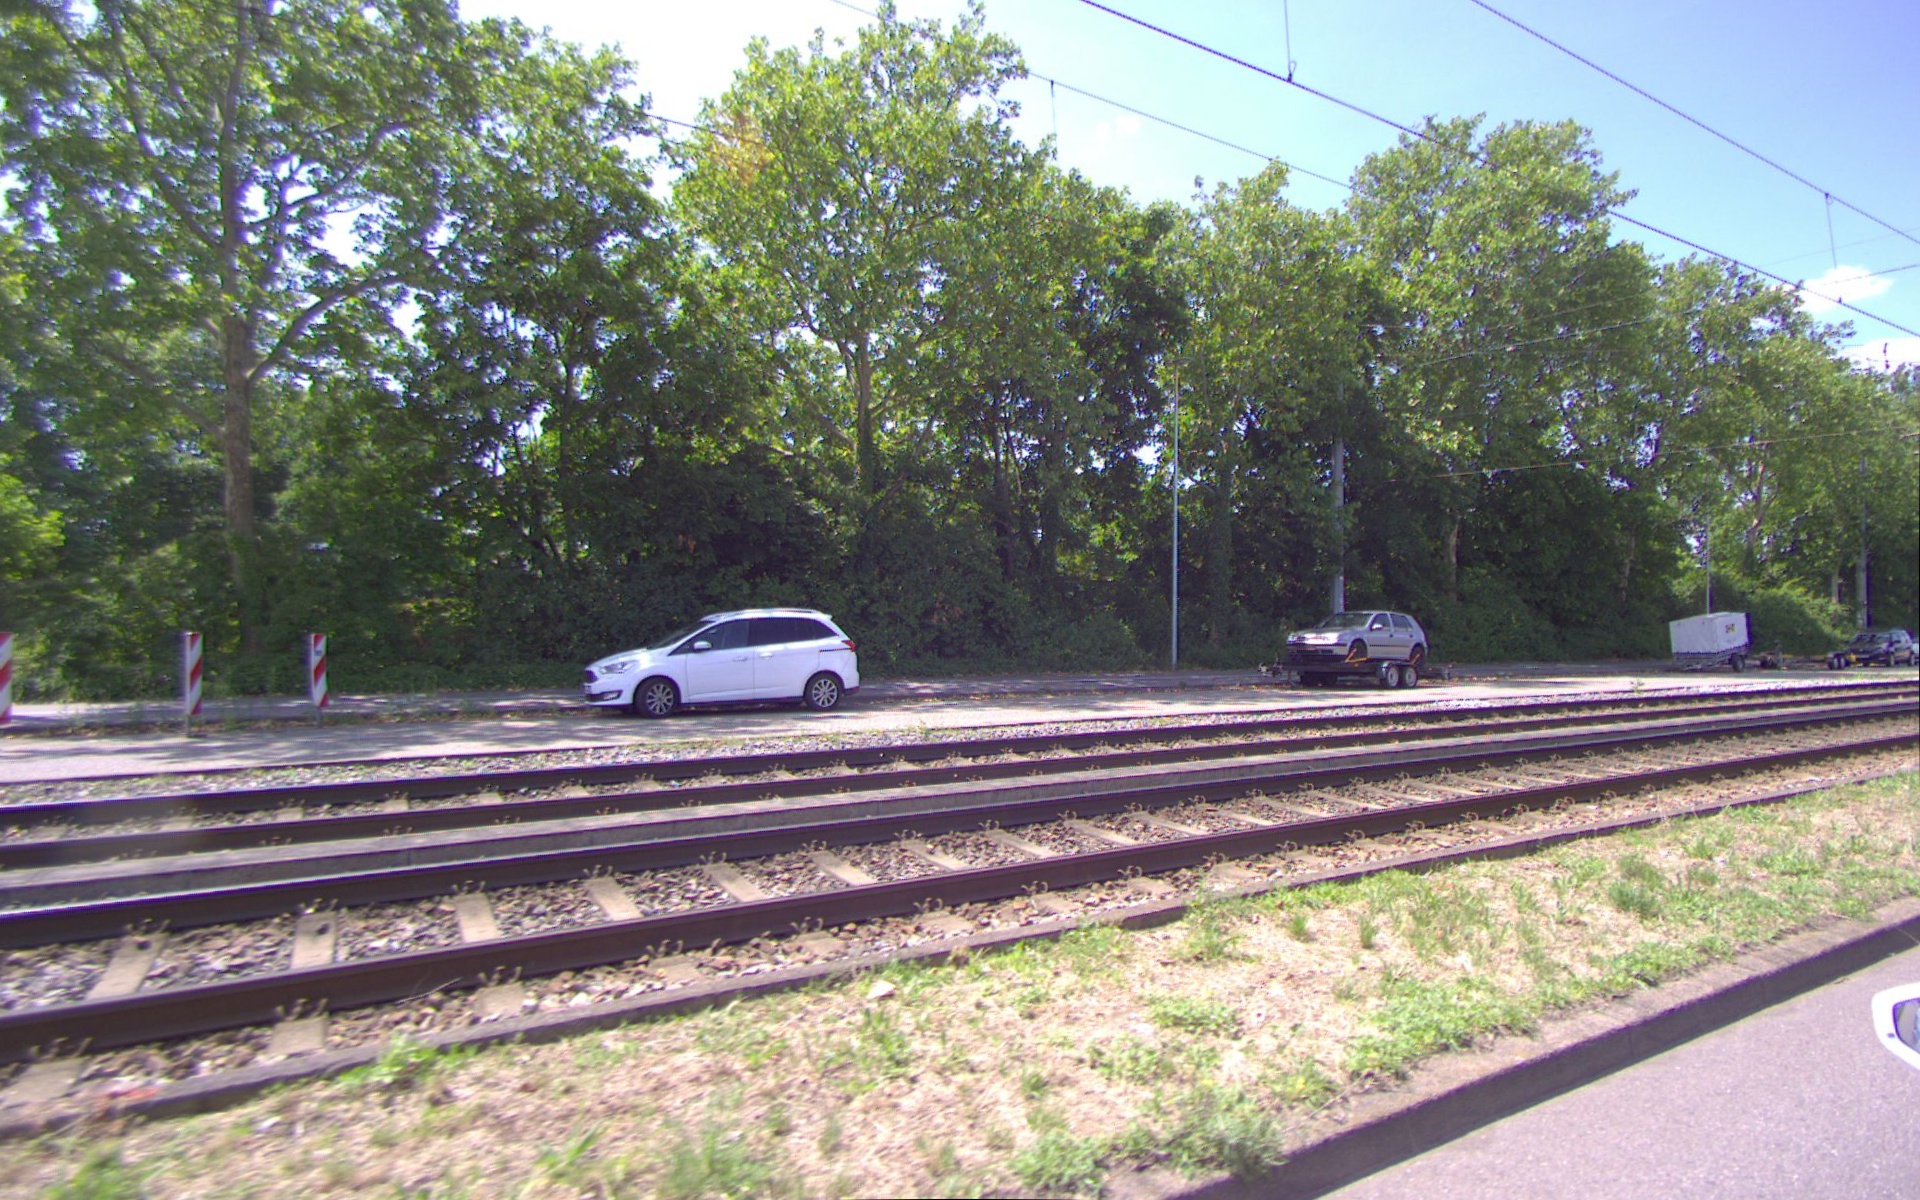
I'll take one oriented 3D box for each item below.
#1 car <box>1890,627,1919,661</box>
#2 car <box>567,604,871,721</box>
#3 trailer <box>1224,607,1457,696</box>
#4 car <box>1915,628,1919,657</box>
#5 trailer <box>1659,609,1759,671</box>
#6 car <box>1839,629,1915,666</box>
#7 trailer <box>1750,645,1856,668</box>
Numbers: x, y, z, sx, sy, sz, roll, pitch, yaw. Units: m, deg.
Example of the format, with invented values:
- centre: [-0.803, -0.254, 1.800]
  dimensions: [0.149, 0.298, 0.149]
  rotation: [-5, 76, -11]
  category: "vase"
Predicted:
- centre: [44.260, 2.012, 46.110]
  dimensions: [3.700, 1.470, 1.426]
  rotation: [1, 0, -32]
  category: "car"
- centre: [-3.910, 0.963, 16.568]
  dimensions: [4.564, 1.652, 1.711]
  rotation: [-1, -3, -32]
  category: "car"
- centre: [9.365, 1.168, 24.499]
  dimensions: [5.902, 1.914, 2.445]
  rotation: [1, 0, -35]
  category: "trailer"
- centre: [48.616, 2.095, 49.063]
  dimensions: [4.370, 1.419, 1.860]
  rotation: [1, 0, -33]
  category: "car"
- centre: [26.417, 1.371, 35.393]
  dimensions: [3.874, 2.041, 1.600]
  rotation: [0, 1, -34]
  category: "trailer"
- centre: [39.179, 1.995, 42.903]
  dimensions: [3.878, 1.470, 1.426]
  rotation: [1, 0, -33]
  category: "car"
- centre: [32.754, 2.193, 39.016]
  dimensions: [3.954, 0.752, 1.984]
  rotation: [2, -1, -31]
  category: "trailer"
